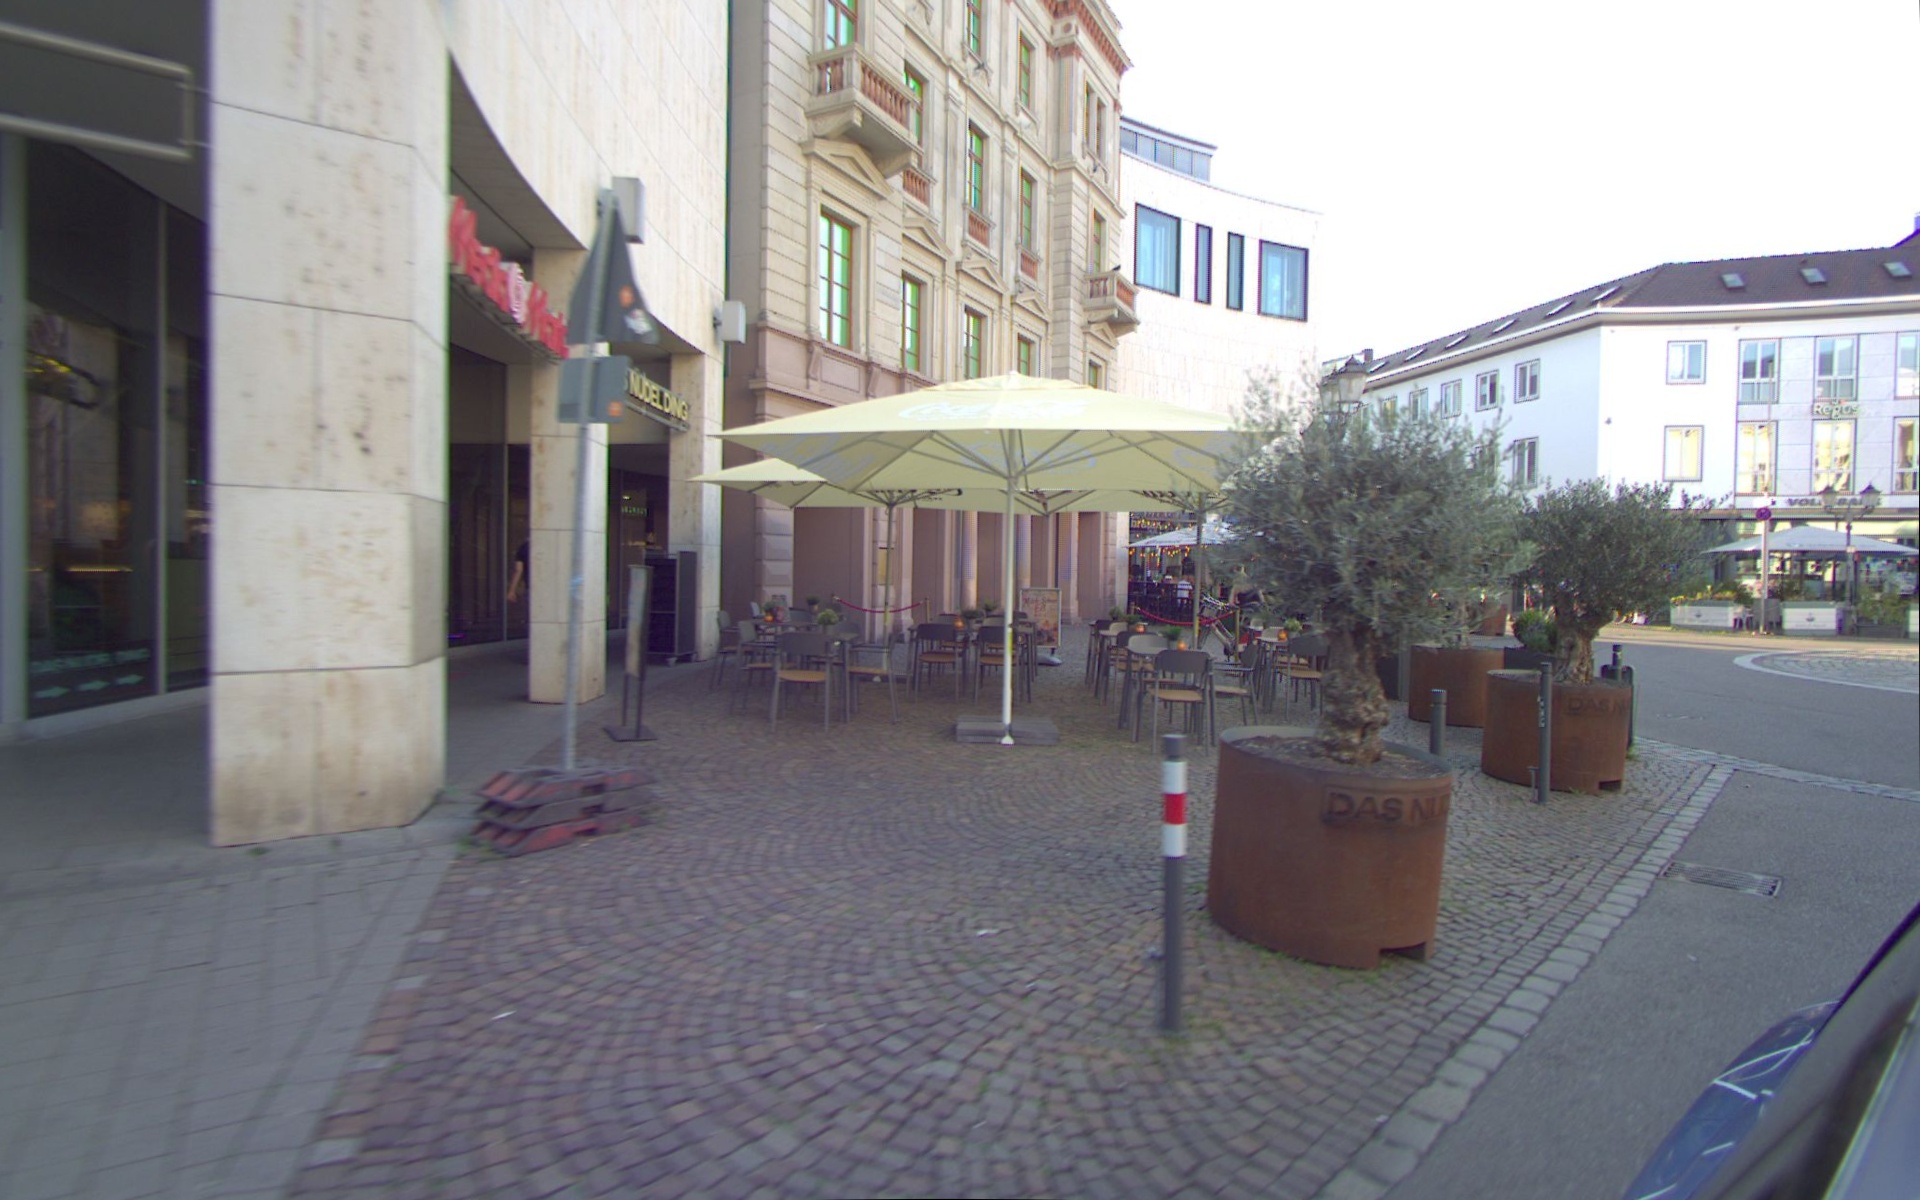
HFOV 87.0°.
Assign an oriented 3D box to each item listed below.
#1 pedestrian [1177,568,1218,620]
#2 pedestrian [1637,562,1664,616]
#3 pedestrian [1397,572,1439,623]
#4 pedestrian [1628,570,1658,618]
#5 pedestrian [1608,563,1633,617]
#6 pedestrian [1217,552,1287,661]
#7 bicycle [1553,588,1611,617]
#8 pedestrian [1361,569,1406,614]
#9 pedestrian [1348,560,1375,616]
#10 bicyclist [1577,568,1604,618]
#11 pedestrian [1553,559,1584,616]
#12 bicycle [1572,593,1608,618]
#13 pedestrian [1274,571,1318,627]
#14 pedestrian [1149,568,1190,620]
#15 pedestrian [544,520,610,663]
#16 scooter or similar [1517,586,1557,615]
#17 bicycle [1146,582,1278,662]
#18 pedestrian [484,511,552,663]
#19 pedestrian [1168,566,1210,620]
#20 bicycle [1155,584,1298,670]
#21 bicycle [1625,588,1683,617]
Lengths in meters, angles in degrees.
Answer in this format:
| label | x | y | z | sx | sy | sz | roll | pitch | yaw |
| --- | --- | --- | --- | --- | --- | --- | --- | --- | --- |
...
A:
| label | x | y | z | sx | sy | sz | roll | pitch | yaw |
| --- | --- | --- | --- | --- | --- | --- | --- | --- | --- |
| pedestrian | 6.852 | -0.170 | 29.194 | 0.835 | 1.465 | 0.777 | 1 | 1 | -18 |
| pedestrian | 23.998 | -0.393 | 35.191 | 0.704 | 1.841 | 0.509 | 0 | 1 | -32 |
| pedestrian | 13.437 | -0.076 | 29.709 | 0.847 | 1.465 | 0.725 | 1 | 1 | -10 |
| pedestrian | 24.408 | -0.228 | 36.171 | 0.719 | 1.697 | 0.620 | 0 | 1 | -32 |
| pedestrian | 24.189 | -0.380 | 37.058 | 0.532 | 1.947 | 0.581 | 0 | 1 | -32 |
| pedestrian | 4.437 | 0.089 | 15.409 | 0.699 | 1.608 | 0.751 | 1 | 1 | -16 |
| bicycle | 21.472 | 0.082 | 34.944 | 1.647 | 0.945 | 0.474 | 1 | 1 | 4 |
| pedestrian | 13.800 | -0.284 | 33.003 | 0.925 | 1.465 | 0.974 | 1 | 1 | -18 |
| pedestrian | 13.098 | -0.394 | 33.013 | 0.700 | 1.769 | 0.713 | 1 | 1 | 15 |
| bicyclist | 22.388 | -0.258 | 35.946 | 0.818 | 1.765 | 0.483 | 0 | 1 | -31 |
| pedestrian | 21.104 | -0.437 | 35.119 | 0.615 | 1.952 | 0.646 | 1 | 1 | -10 |
| bicycle | 22.393 | 0.204 | 35.956 | 1.454 | 0.858 | 0.483 | 0 | 1 | -32 |
| pedestrian | 8.914 | -0.038 | 26.870 | 0.847 | 1.465 | 0.725 | 1 | 1 | -10 |
| pedestrian | 5.959 | -0.182 | 28.817 | 0.835 | 1.465 | 0.777 | 1 | 1 | -18 |
| pedestrian | -4.858 | -0.111 | 12.866 | 0.655 | 1.767 | 0.719 | 1 | 1 | -11 |
| scooter or similar | 21.143 | 0.027 | 37.095 | 1.181 | 1.024 | 0.487 | 1 | 1 | -3 |
| bicycle | 3.931 | 0.332 | 15.841 | 1.867 | 1.142 | 0.608 | 3 | 1 | -9 |
| pedestrian | -5.659 | -0.170 | 12.987 | 0.655 | 1.885 | 0.719 | 1 | 1 | -11 |
| pedestrian | 6.339 | -0.190 | 28.028 | 0.835 | 1.465 | 0.777 | 1 | 1 | -20 |
| bicycle | 3.879 | 0.383 | 14.774 | 1.867 | 1.142 | 0.608 | 3 | 1 | -9 |
| bicycle | 24.131 | 0.083 | 35.202 | 1.647 | 0.945 | 0.474 | 1 | 1 | 4 |
